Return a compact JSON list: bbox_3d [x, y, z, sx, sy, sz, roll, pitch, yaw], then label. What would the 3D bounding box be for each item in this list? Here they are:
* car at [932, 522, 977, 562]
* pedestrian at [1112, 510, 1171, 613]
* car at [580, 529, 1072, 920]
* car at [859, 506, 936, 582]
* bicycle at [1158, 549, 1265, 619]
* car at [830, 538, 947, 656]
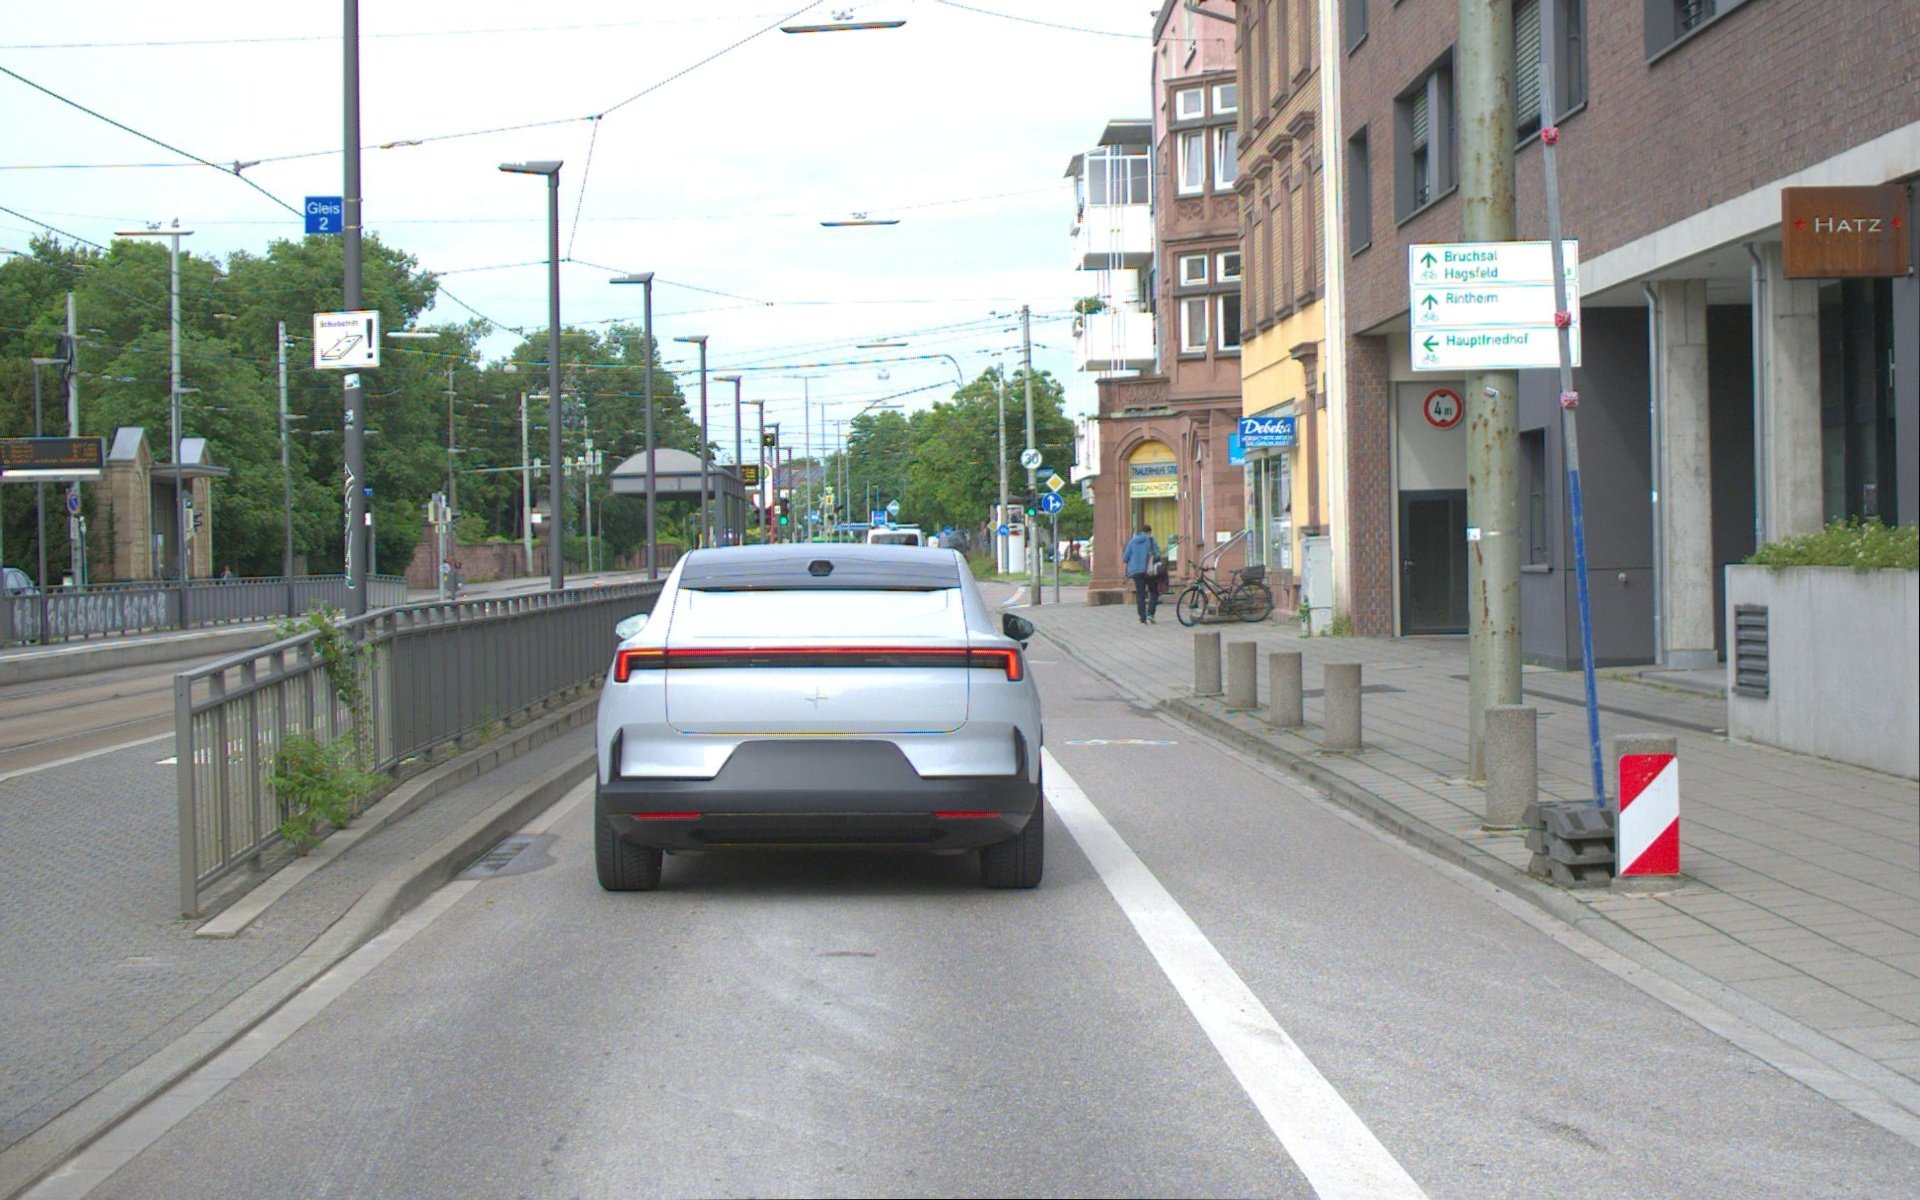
[{"bbox_3d":[-0.348,-3.681,220.071,2.807,2.496,5.723,0,1,-1],"label":"car"},{"bbox_3d":[3.386,-0.723,64.118,0.961,1.843,0.975,-3,2,5],"label":"pedestrian"},{"bbox_3d":[-0.726,0.487,15.955,1.999,1.575,4.001,0,0,-5],"label":"car"},{"bbox_3d":[-2.059,-1.802,111.711,2.225,2.394,5.124,0,1,-4],"label":"car"},{"bbox_3d":[4.449,-0.283,60.940,1.777,1.126,0.642,-4,1,-1],"label":"bicycle"},{"bbox_3d":[-1.056,-0.061,51.441,1.681,1.682,3.824,0,1,-1],"label":"car"}]
